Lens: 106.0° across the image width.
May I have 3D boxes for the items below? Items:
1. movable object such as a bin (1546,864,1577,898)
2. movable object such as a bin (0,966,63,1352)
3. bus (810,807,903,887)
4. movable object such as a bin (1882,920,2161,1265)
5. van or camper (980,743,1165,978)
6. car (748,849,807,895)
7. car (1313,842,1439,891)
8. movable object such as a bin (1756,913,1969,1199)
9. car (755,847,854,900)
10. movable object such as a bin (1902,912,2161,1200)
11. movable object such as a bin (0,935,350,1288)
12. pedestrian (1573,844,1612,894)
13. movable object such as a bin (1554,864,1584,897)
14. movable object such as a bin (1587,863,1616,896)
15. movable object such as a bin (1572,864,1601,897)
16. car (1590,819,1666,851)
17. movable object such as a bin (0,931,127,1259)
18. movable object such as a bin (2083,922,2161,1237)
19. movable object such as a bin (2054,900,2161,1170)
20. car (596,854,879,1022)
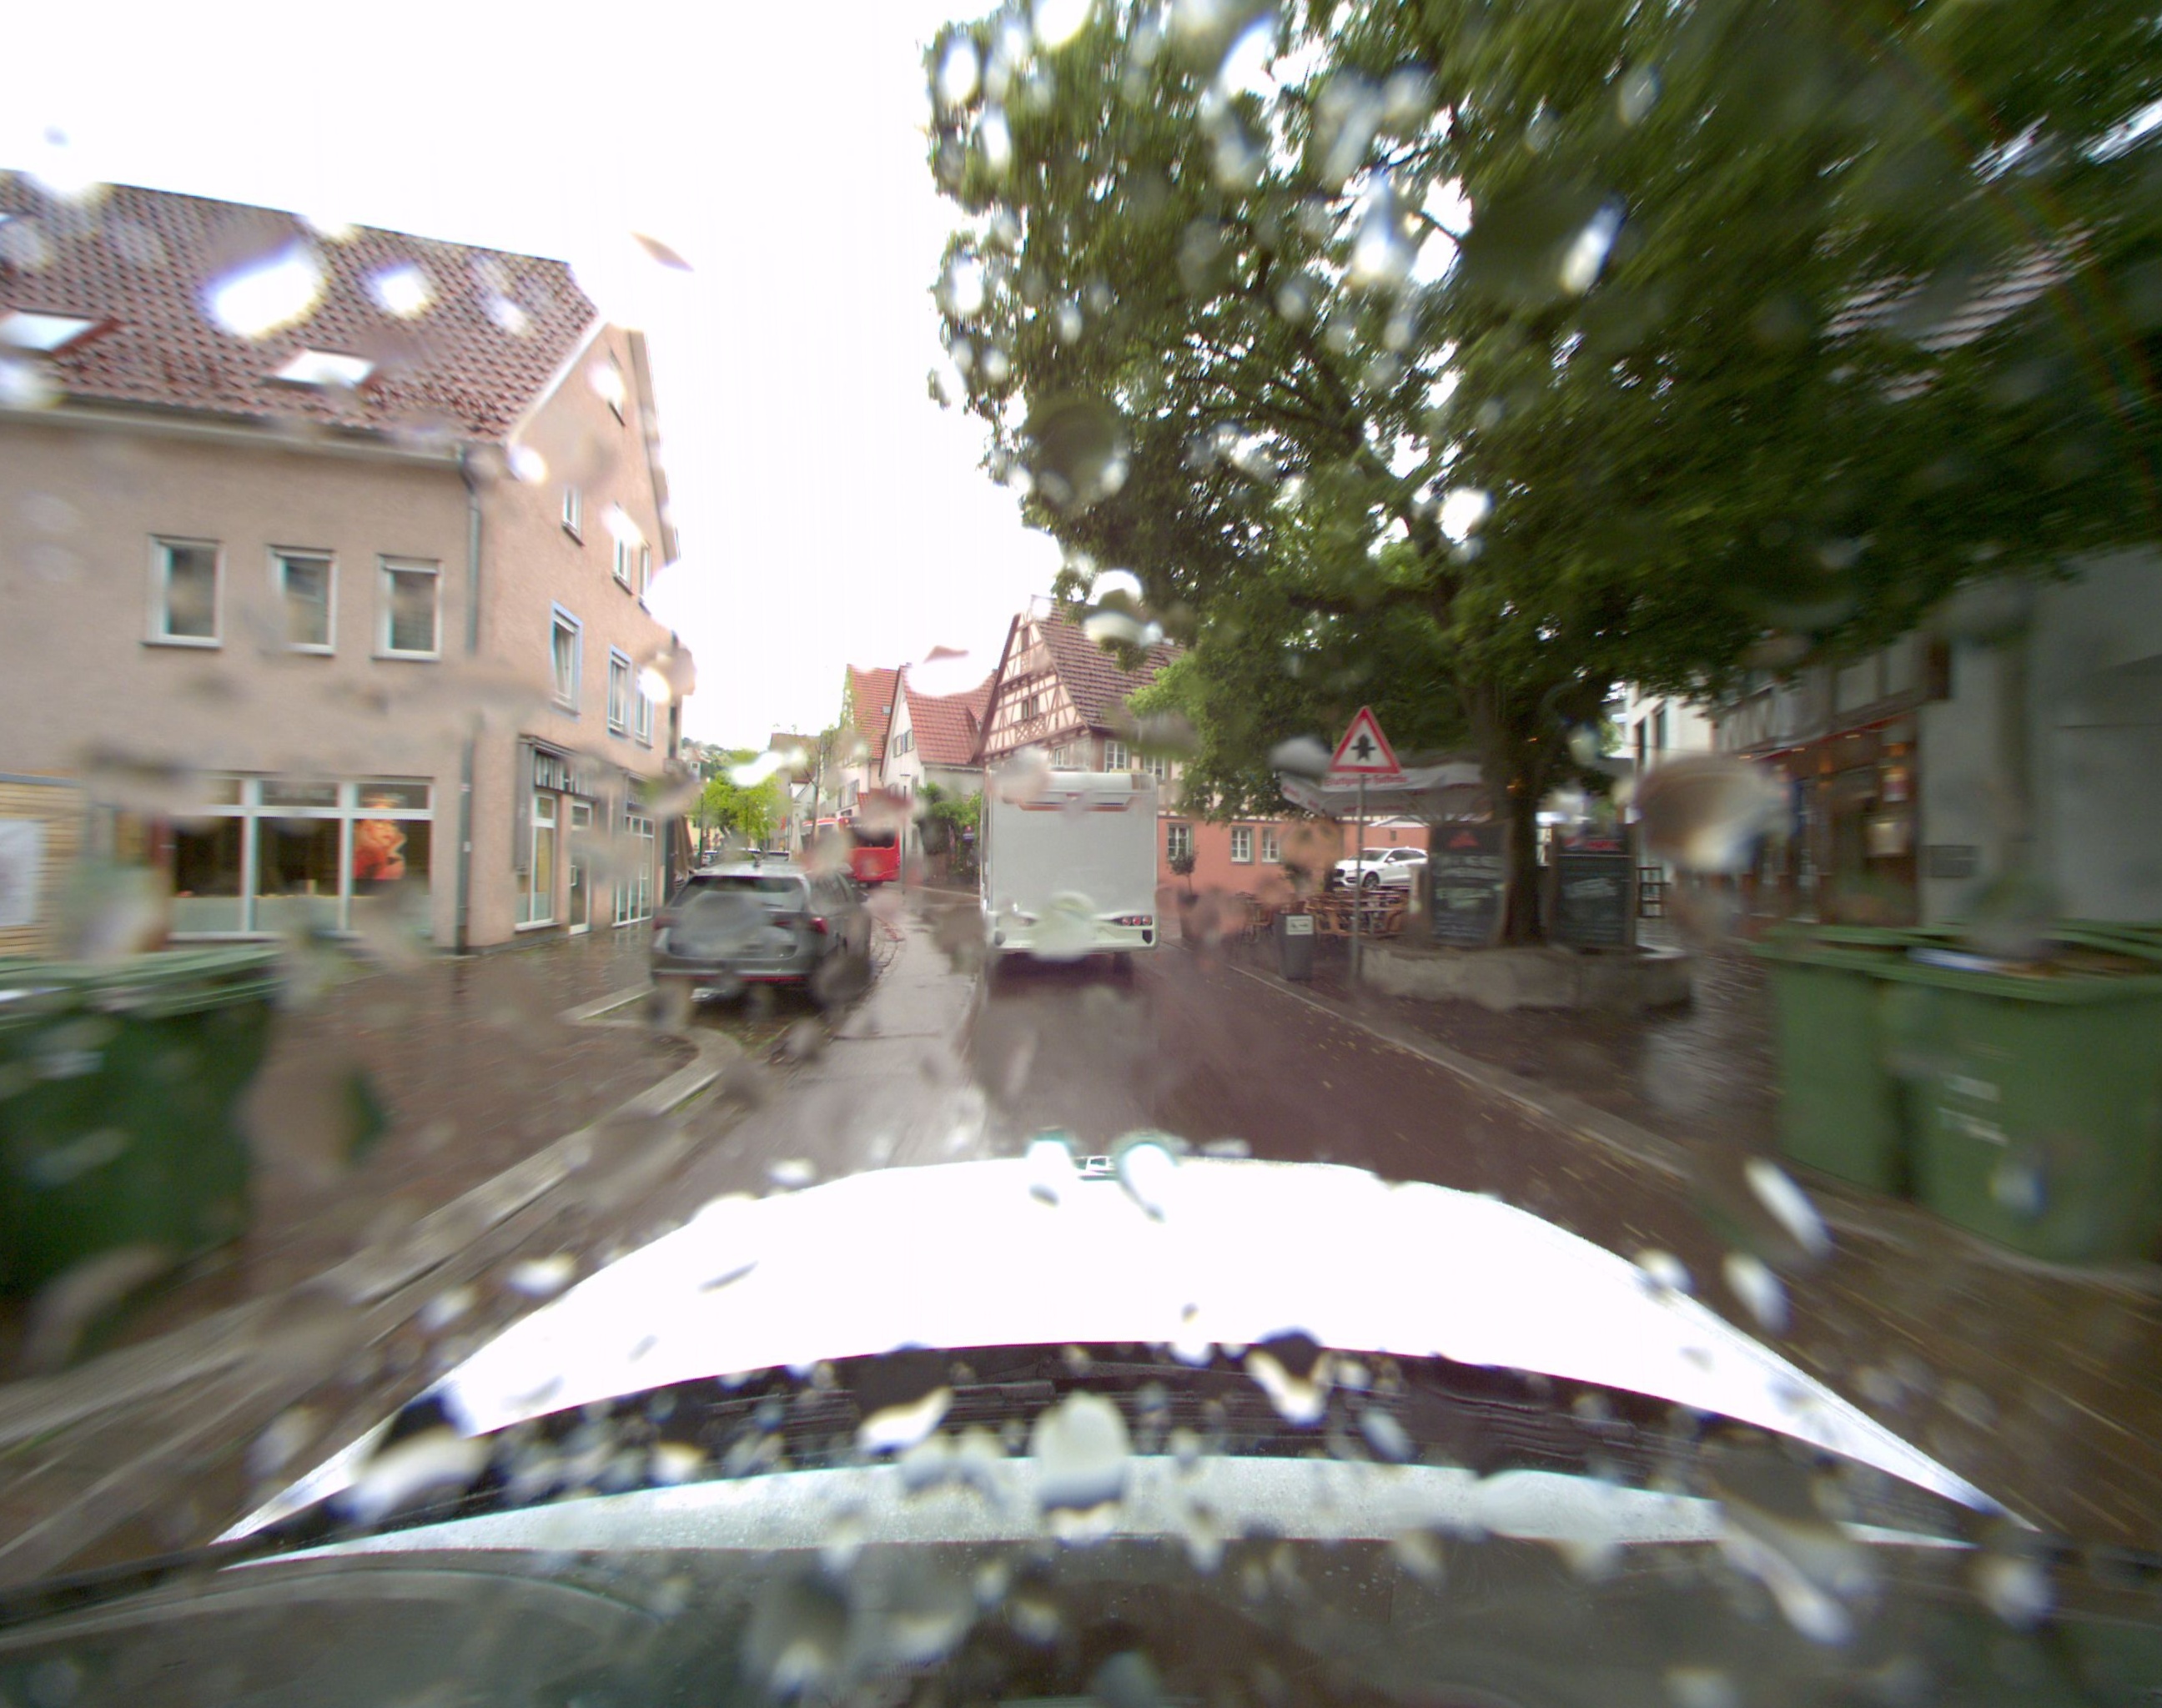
[{"bbox_3d":[15.676,0.883,26.572,0.658,1.093,0.600,0,-1,-29],"label":"movable object such as a bin"},{"bbox_3d":[-3.429,0.872,2.163,0.689,1.087,0.546,2,-1,-1],"label":"movable object such as a bin"},{"bbox_3d":[-10.116,-0.223,36.212,2.656,3.227,6.542,0,-1,-28],"label":"bus"},{"bbox_3d":[3.543,0.842,3.076,0.532,1.149,0.500,0,-1,-2],"label":"movable object such as a bin"},{"bbox_3d":[-0.486,0.124,13.437,2.324,2.919,6.376,0,-1,-7],"label":"van or camper"},{"bbox_3d":[-11.071,0.622,29.536,1.601,1.546,3.942,0,-1,-27],"label":"car"},{"bbox_3d":[10.905,0.438,30.025,4.480,1.631,1.926,0,2,-31],"label":"car"},{"bbox_3d":[3.512,0.871,3.693,0.475,1.169,0.488,0,-1,-2],"label":"movable object such as a bin"},{"bbox_3d":[-8.651,0.555,25.239,1.813,1.433,4.581,3,-1,-32],"label":"car"},{"bbox_3d":[4.275,0.854,3.671,0.543,1.149,0.585,0,-1,-2],"label":"movable object such as a bin"},{"bbox_3d":[-3.337,0.887,3.025,0.657,1.109,0.623,0,-1,-1],"label":"movable object such as a bin"},{"bbox_3d":[16.118,0.467,25.674,0.845,1.518,0.752,1,-1,-36],"label":"pedestrian"},{"bbox_3d":[16.207,0.875,27.067,0.658,1.093,0.600,0,-1,-29],"label":"movable object such as a bin"},{"bbox_3d":[17.844,0.867,27.933,0.658,1.093,0.600,0,-1,-29],"label":"movable object such as a bin"},{"bbox_3d":[17.072,0.890,27.513,0.658,1.093,0.600,0,-1,-29],"label":"movable object such as a bin"},{"bbox_3d":[28.643,-0.954,42.603,4.016,1.530,1.979,0,-1,-35],"label":"car"},{"bbox_3d":[-4.083,0.853,2.878,0.657,1.109,0.623,0,-1,-1],"label":"movable object such as a bin"},{"bbox_3d":[4.274,0.845,3.001,0.529,1.149,0.500,0,-1,-2],"label":"movable object such as a bin"},{"bbox_3d":[4.927,0.793,3.614,0.502,1.149,0.580,0,-1,-2],"label":"movable object such as a bin"},{"bbox_3d":[-3.565,0.762,9.421,1.993,1.454,4.360,0,-1,-9],"label":"car"}]
